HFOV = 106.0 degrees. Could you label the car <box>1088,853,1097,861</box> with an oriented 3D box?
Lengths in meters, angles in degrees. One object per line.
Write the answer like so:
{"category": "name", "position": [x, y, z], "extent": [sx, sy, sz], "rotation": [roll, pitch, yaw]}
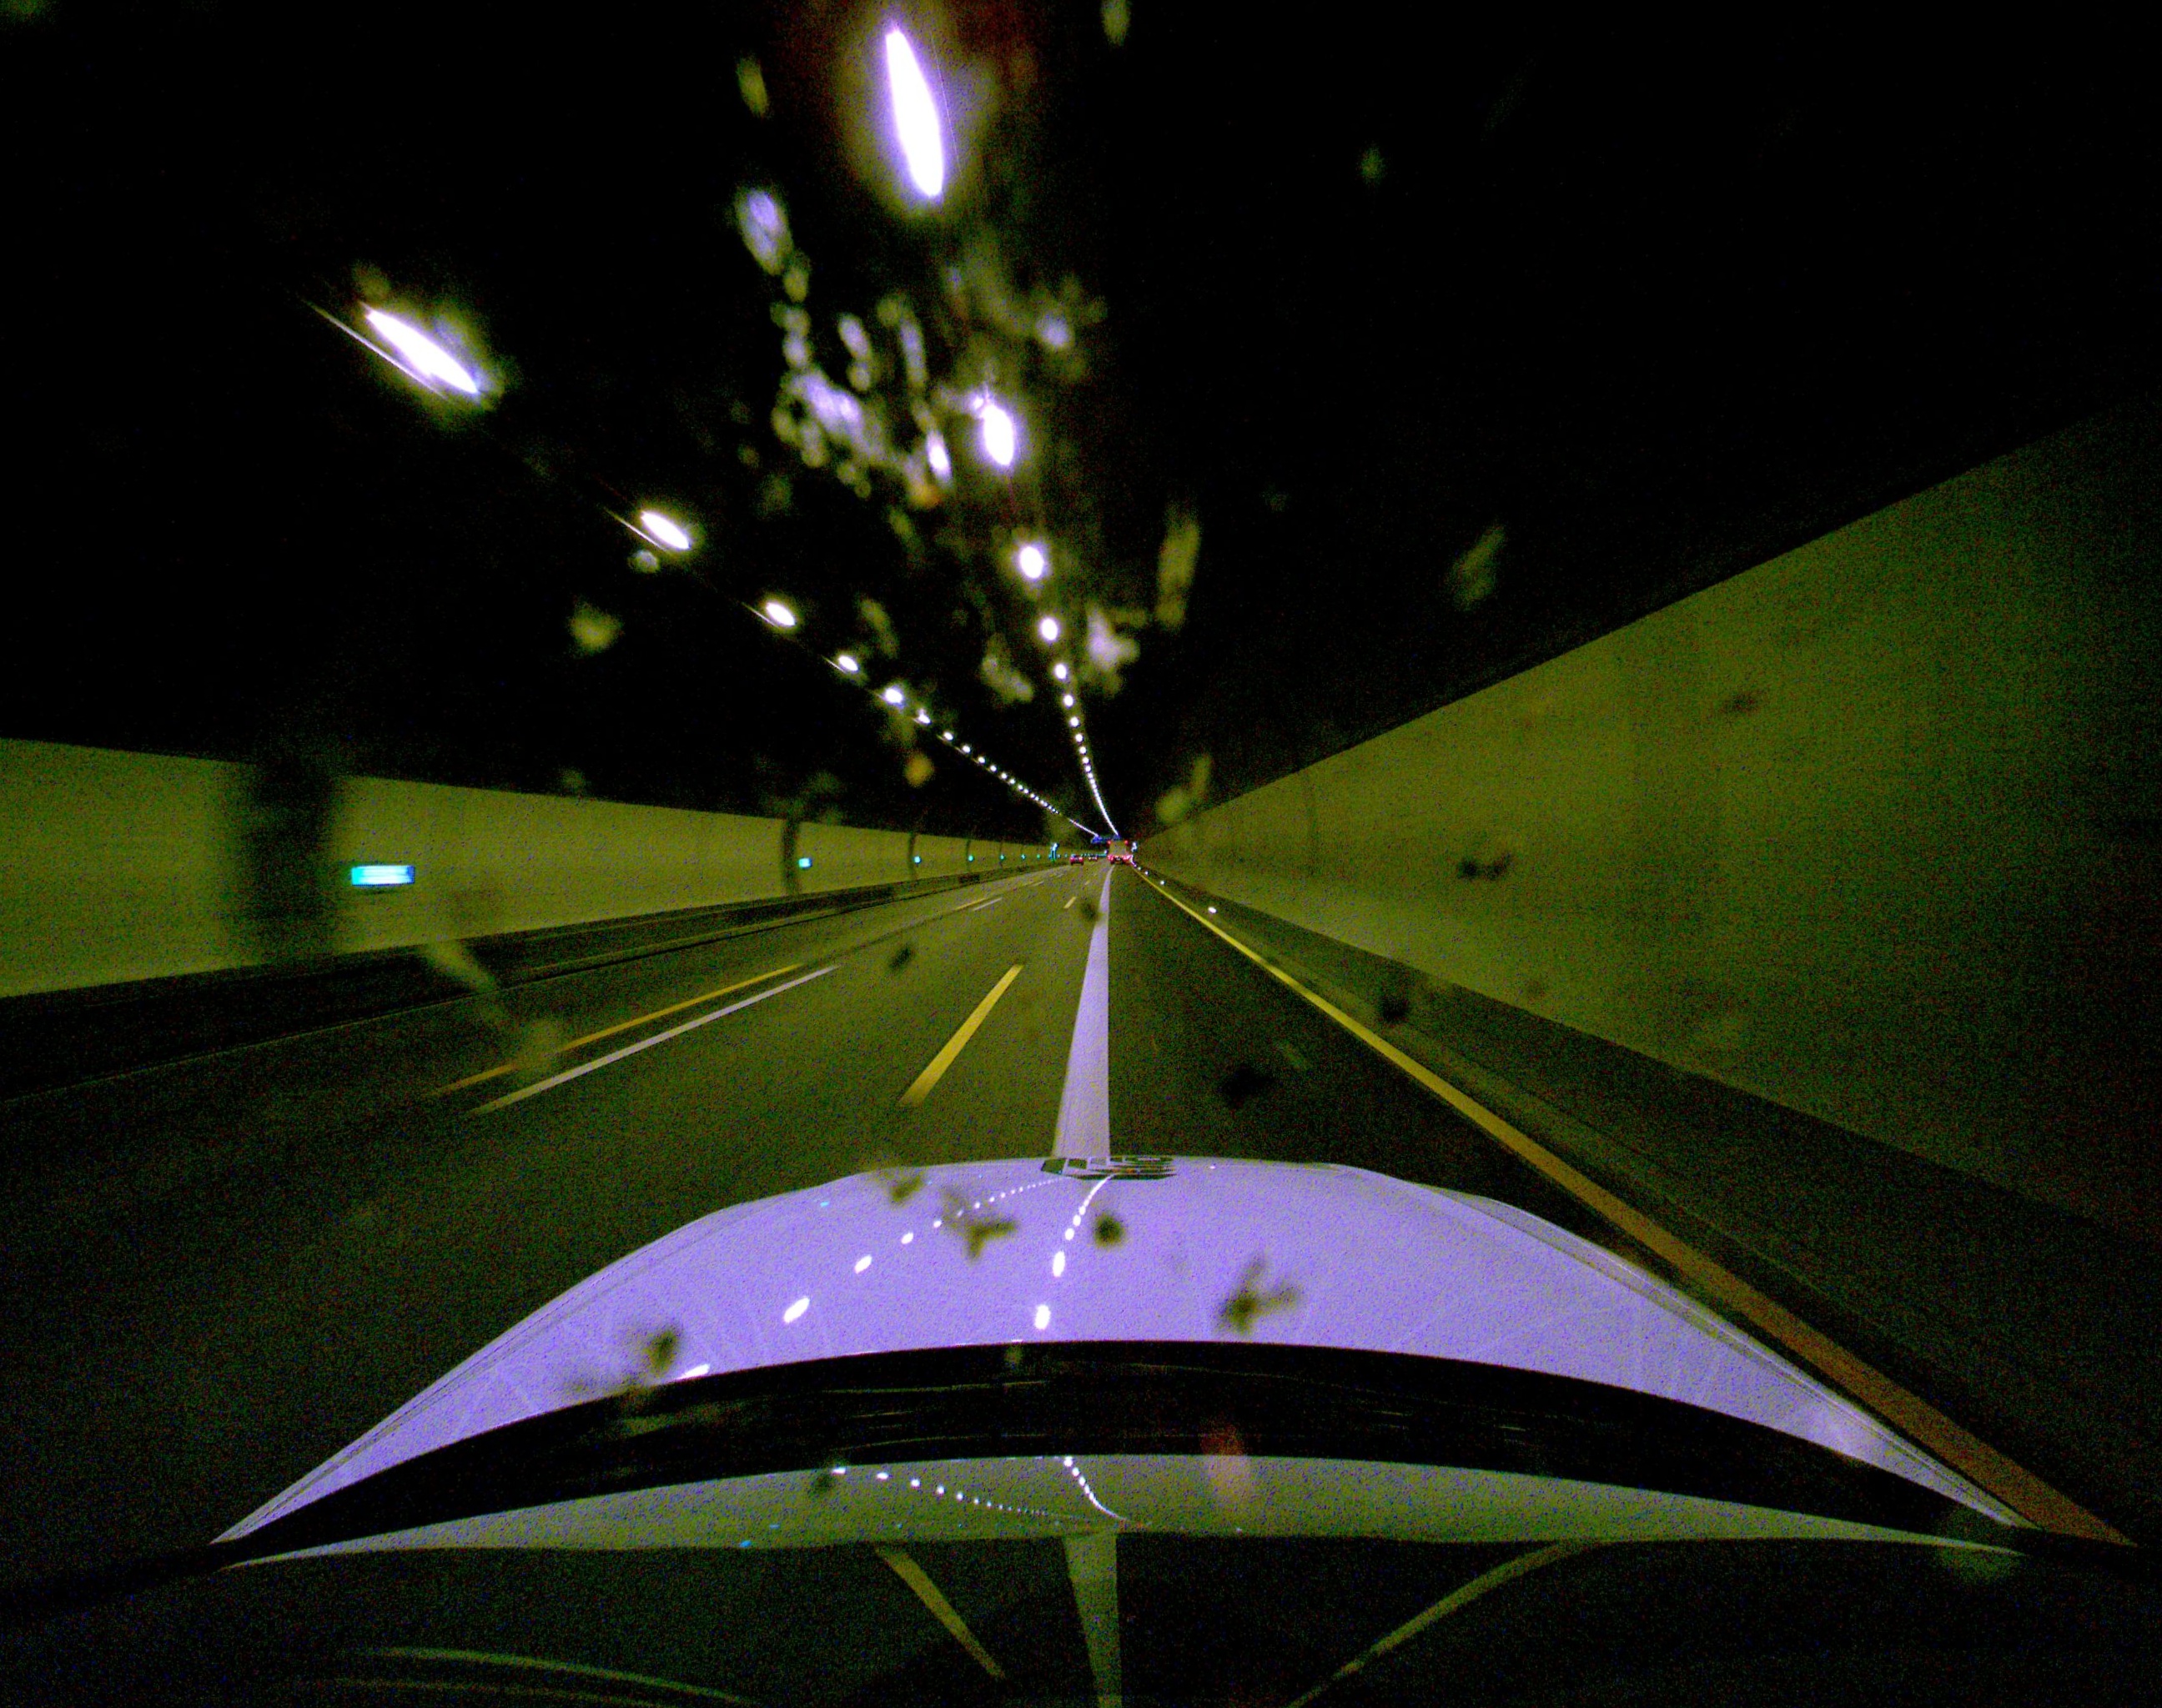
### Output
{"category": "car", "position": [2.440, 0.599, 173.580], "extent": [1.807, 1.520, 4.000], "rotation": [-1, 2, 0]}

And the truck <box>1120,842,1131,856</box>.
{"category": "truck", "position": [13.692, -1.530, 249.148], "extent": [2.912, 4.047, 14.035], "rotation": [-3, 0, 2]}

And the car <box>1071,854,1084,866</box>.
{"category": "car", "position": [-0.547, 0.818, 119.166], "extent": [1.806, 1.618, 4.001], "rotation": [-1, 0, 1]}

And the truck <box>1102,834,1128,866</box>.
{"category": "truck", "position": [5.295, -0.658, 129.906], "extent": [3.268, 4.650, 17.283], "rotation": [-3, 0, 0]}
